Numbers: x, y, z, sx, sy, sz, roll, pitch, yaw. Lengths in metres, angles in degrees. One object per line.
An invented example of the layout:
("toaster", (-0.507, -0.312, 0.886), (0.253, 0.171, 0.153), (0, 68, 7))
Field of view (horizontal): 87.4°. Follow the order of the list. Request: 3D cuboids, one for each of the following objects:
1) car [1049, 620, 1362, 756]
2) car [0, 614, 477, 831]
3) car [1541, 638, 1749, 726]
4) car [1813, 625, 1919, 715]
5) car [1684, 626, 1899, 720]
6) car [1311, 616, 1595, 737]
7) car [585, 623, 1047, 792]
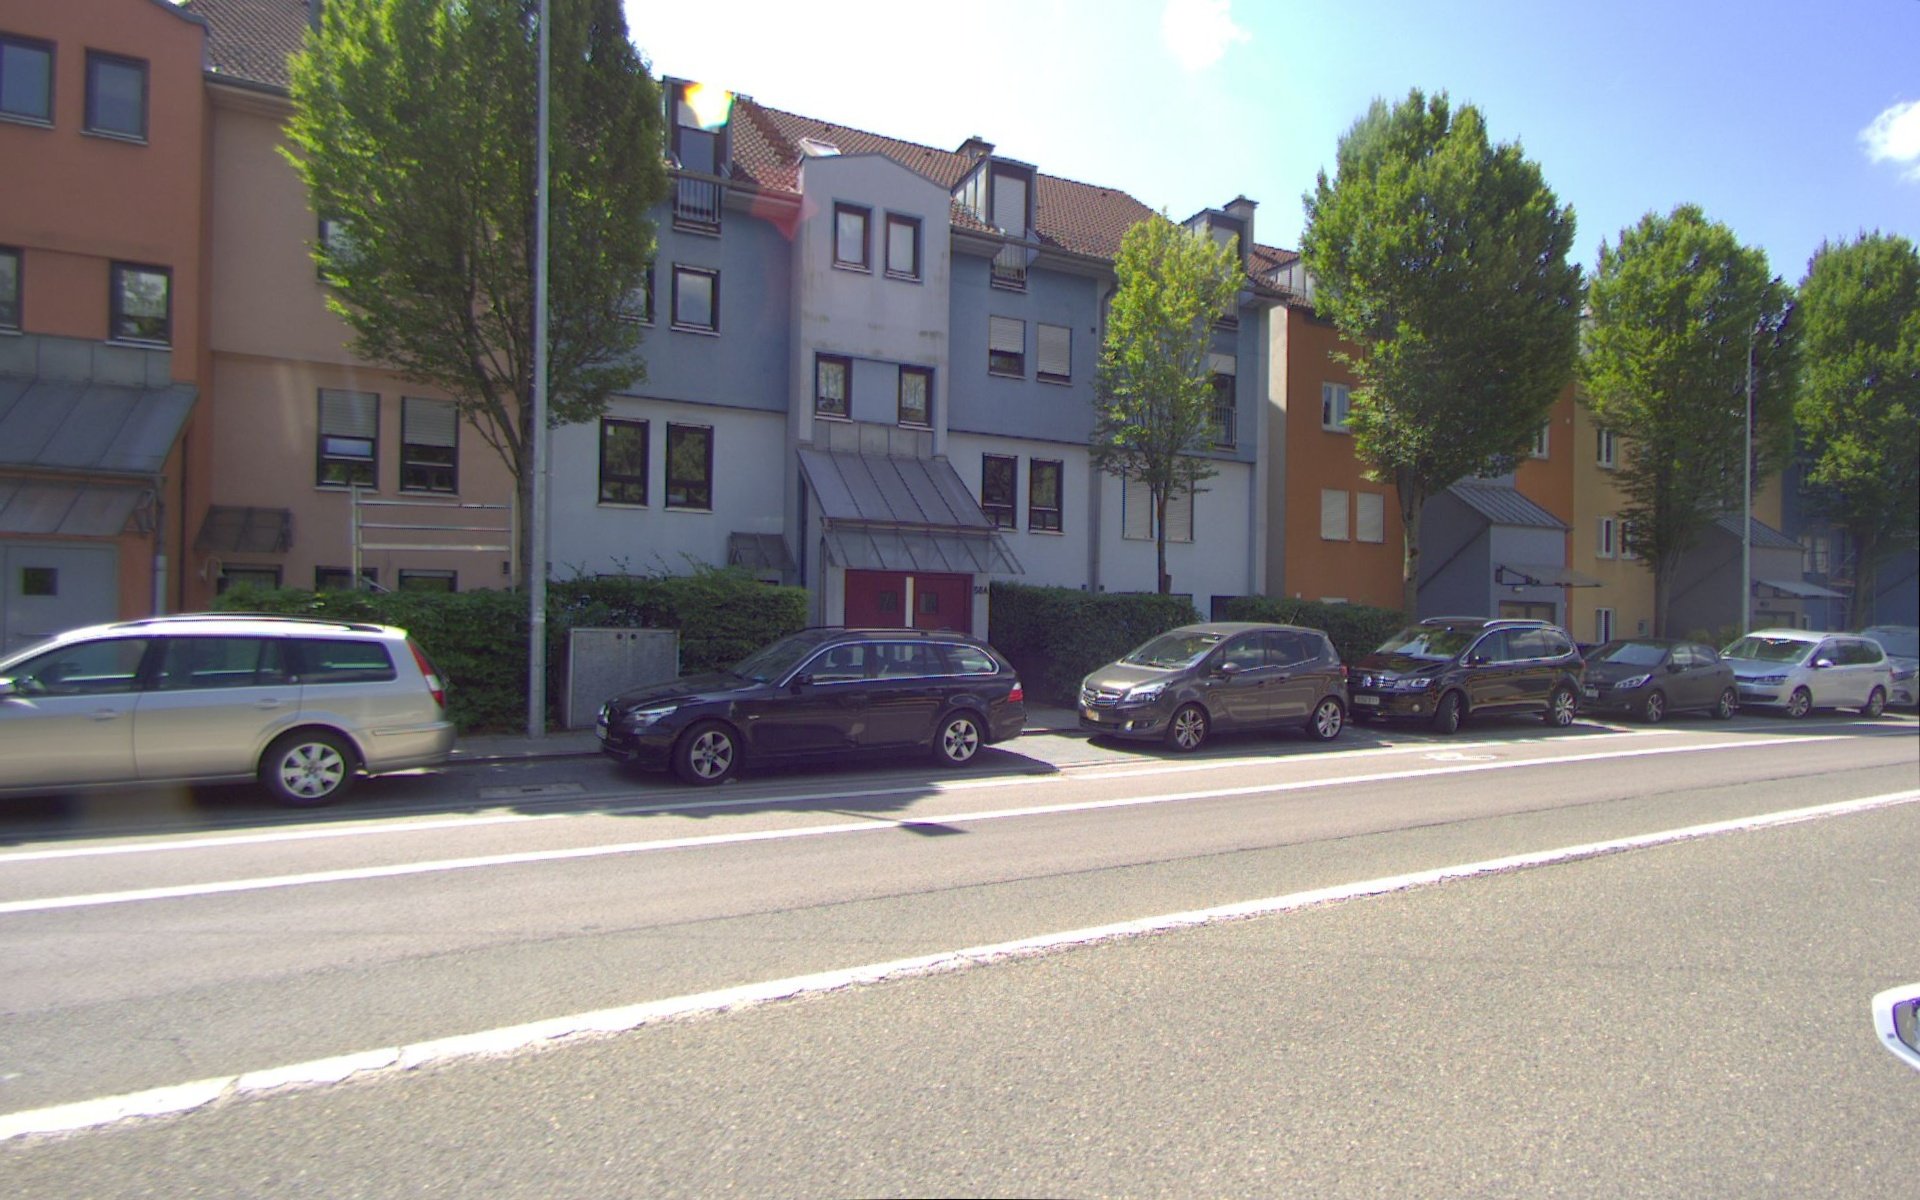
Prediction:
("car", (3.454, 1.144, 13.942), (4.233, 1.638, 1.649), (2, -2, -29))
("car", (-6.690, 0.900, 8.206), (4.838, 1.528, 1.648), (1, -1, -30))
("car", (12.957, 1.474, 18.957), (4.037, 1.490, 1.592), (1, -1, -29))
("car", (22.556, 1.585, 23.672), (5.291, 1.920, 1.800), (1, -1, -26))
("car", (17.555, 1.474, 21.161), (4.840, 1.775, 1.711), (1, -1, -27))
("car", (8.161, 1.171, 16.513), (4.827, 1.739, 1.744), (1, -1, -29))
("car", (-1.495, 1.059, 11.139), (4.768, 1.466, 1.733), (2, 1, -30))
